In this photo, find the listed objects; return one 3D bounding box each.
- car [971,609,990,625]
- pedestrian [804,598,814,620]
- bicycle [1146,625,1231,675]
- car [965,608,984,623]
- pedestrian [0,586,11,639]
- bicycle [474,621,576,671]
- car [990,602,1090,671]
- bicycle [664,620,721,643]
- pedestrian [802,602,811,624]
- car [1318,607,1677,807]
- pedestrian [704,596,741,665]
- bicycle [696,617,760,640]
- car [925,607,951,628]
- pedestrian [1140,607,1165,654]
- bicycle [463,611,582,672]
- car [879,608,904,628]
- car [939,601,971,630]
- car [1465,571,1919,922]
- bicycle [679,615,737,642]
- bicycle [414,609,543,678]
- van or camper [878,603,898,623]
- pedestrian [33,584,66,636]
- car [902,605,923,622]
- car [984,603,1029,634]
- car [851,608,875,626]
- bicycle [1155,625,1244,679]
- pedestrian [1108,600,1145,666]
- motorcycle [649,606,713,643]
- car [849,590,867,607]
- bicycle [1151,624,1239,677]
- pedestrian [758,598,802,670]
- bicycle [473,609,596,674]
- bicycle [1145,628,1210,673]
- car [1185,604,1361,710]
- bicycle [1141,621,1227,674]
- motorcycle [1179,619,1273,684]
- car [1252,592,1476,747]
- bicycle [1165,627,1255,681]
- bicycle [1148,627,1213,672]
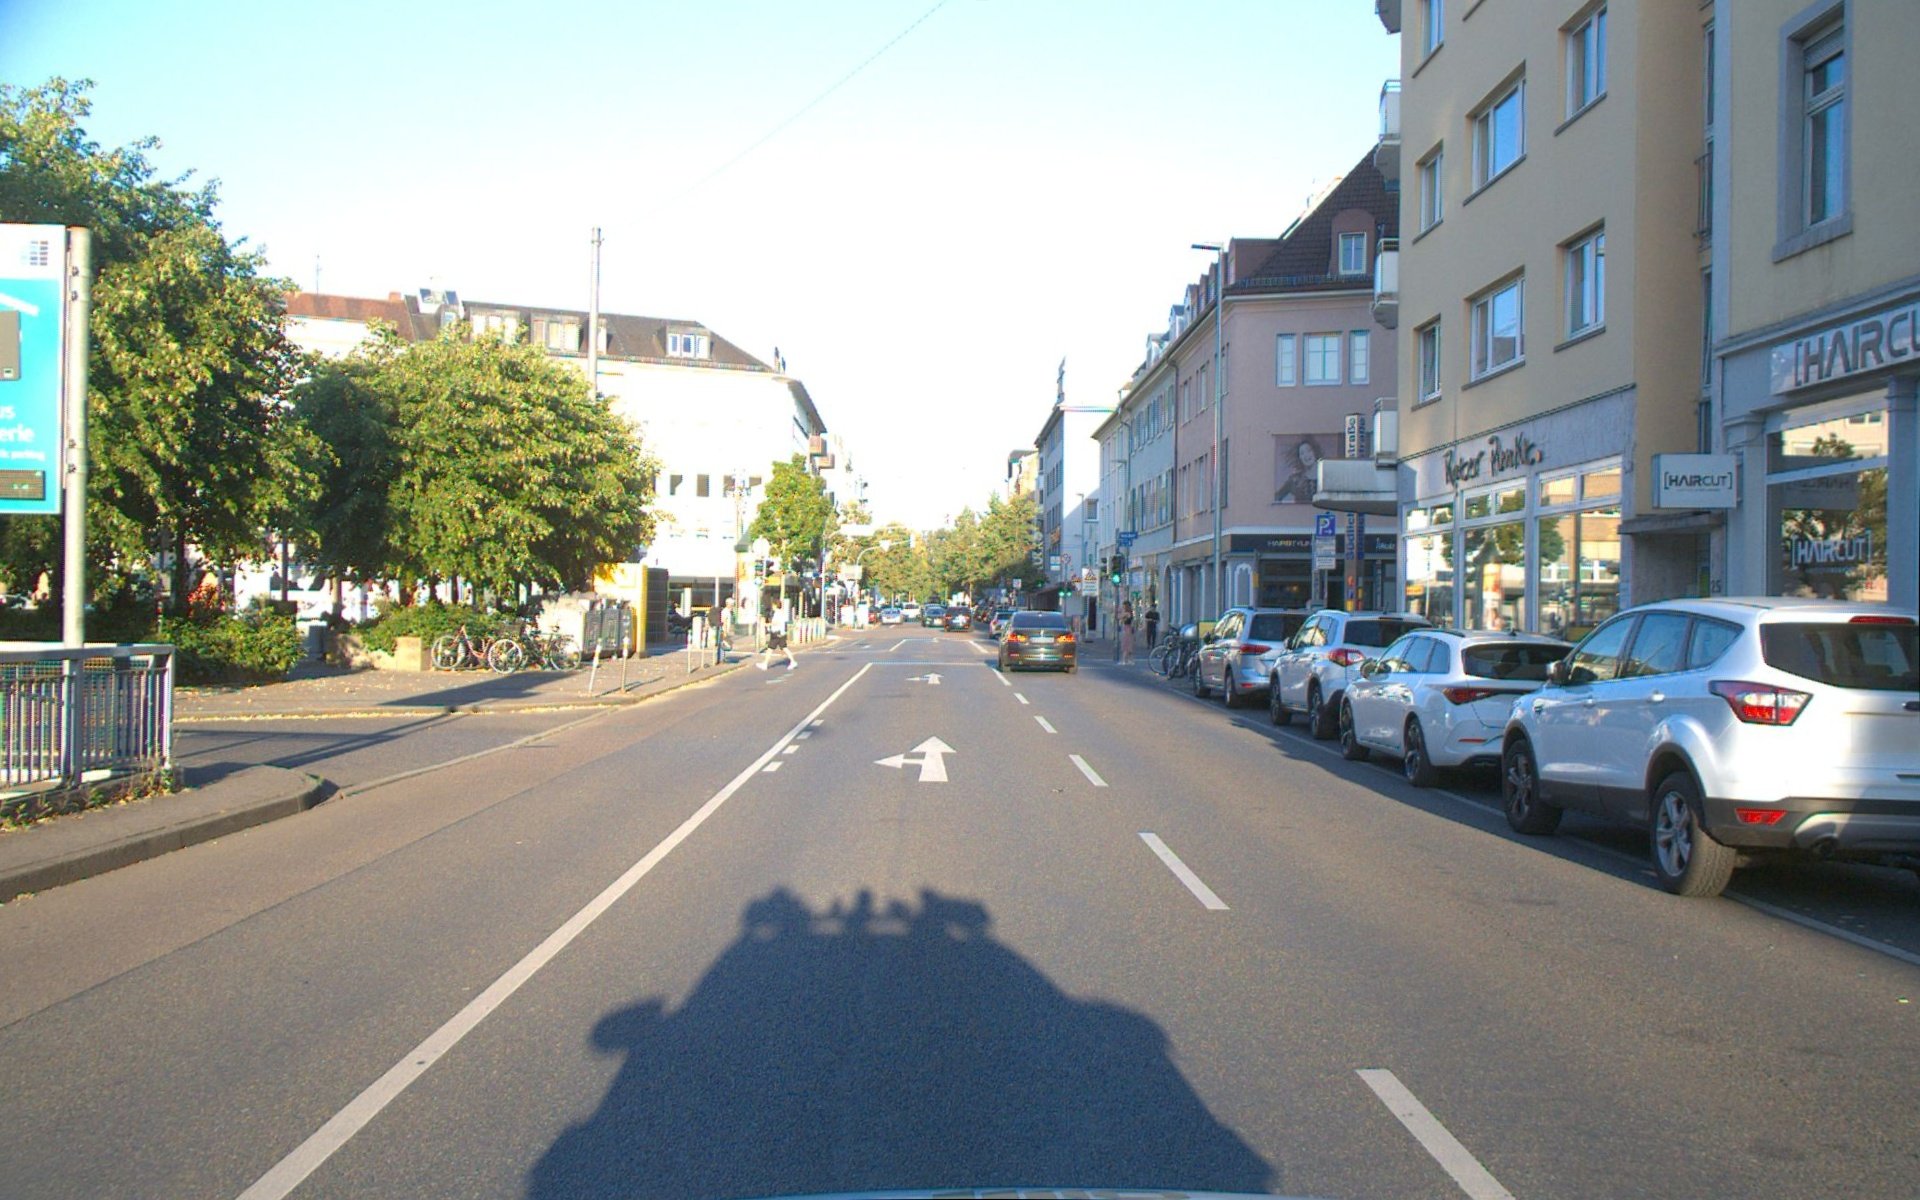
[{"bbox_3d":[2.144,1.747,172.996,1.745,1.624,3.632,1,0,-4],"label":"car"},{"bbox_3d":[-11.978,0.735,130.906,0.670,1.751,0.702,1,0,0],"label":"pedestrian"},{"bbox_3d":[5.358,1.169,38.875,1.847,1.132,0.761,1,0,-4],"label":"bicycle"},{"bbox_3d":[1.609,1.776,185.913,1.856,1.624,3.997,1,0,-4],"label":"car"},{"bbox_3d":[-32.998,0.421,56.136,0.695,1.809,1.189,0,-1,34],"label":"pedestrian"},{"bbox_3d":[-9.453,0.999,35.986,2.002,0.988,0.635,3,-1,-3],"label":"bicycle"},{"bbox_3d":[1.843,0.841,39.368,1.851,1.518,4.201,1,0,-4],"label":"car"},{"bbox_3d":[-11.235,1.328,69.529,2.281,0.935,0.700,1,-1,-3],"label":"bicycle"},{"bbox_3d":[-12.296,1.032,132.633,0.590,1.751,0.575,1,-1,-15],"label":"pedestrian"},{"bbox_3d":[5.109,0.925,16.539,1.974,1.570,4.869,1,1,0],"label":"car"},{"bbox_3d":[-6.108,0.791,42.600,0.866,1.751,0.713,1,-1,-12],"label":"pedestrian"},{"bbox_3d":[-11.036,1.360,78.732,2.881,1.040,0.843,1,-1,2],"label":"bicycle"},{"bbox_3d":[-1.643,1.344,126.799,1.846,1.512,4.000,1,0,1],"label":"car"},{"bbox_3d":[7.479,1.167,64.169,0.742,1.808,1.047,1,-1,-5],"label":"pedestrian"},{"bbox_3d":[-9.353,0.881,35.402,2.382,1.259,0.462,1,-1,-3],"label":"bicycle"},{"bbox_3d":[-5.849,1.542,141.447,1.855,1.624,4.000,1,0,1],"label":"car"},{"bbox_3d":[-0.310,0.985,104.462,1.953,1.780,3.999,1,0,-1],"label":"car"},{"bbox_3d":[4.965,0.714,10.765,1.844,1.775,4.659,1,1,-1],"label":"car"},{"bbox_3d":[-11.322,1.270,74.374,2.473,1.166,0.700,1,-1,-3],"label":"bicycle"},{"bbox_3d":[-9.660,0.854,33.204,2.451,1.306,0.816,1,0,20],"label":"bicycle"},{"bbox_3d":[-9.248,1.679,211.801,2.424,2.447,3.996,1,0,-5],"label":"van or camper"},{"bbox_3d":[-32.142,0.348,58.372,0.879,1.809,0.706,0,-1,37],"label":"pedestrian"},{"bbox_3d":[-4.934,1.398,172.302,1.952,1.780,4.000,1,0,1],"label":"car"},{"bbox_3d":[2.470,0.987,89.379,2.286,1.632,3.893,1,0,-1],"label":"car"},{"bbox_3d":[-9.006,1.564,153.915,1.855,1.624,4.000,1,0,1],"label":"car"},{"bbox_3d":[5.290,1.151,36.572,1.847,1.132,0.521,1,-1,-4],"label":"bicycle"},{"bbox_3d":[4.454,0.874,44.302,0.779,1.751,0.810,1,-1,-8],"label":"pedestrian"},{"bbox_3d":[-11.196,0.983,66.436,2.364,1.451,1.112,1,-1,-2],"label":"motorcycle"},{"bbox_3d":[-12.368,-0.195,200.963,1.790,2.049,3.676,1,0,1],"label":"car"},{"bbox_3d":[5.262,1.123,37.112,1.847,1.132,0.601,1,-1,-4],"label":"bicycle"},{"bbox_3d":[-4.475,0.847,41.173,0.858,1.751,0.753,1,-1,-26],"label":"pedestrian"},{"bbox_3d":[-8.924,0.872,34.727,2.382,1.259,0.517,2,-1,-3],"label":"bicycle"},{"bbox_3d":[5.252,1.221,39.964,1.470,1.033,0.512,1,-1,-3],"label":"bicycle"},{"bbox_3d":[5.245,0.909,28.358,1.953,1.641,4.801,1,0,-2],"label":"car"},{"bbox_3d":[5.147,1.090,38.063,1.847,1.188,0.722,0,0,-4],"label":"bicycle"},{"bbox_3d":[5.398,1.047,33.668,1.776,1.285,0.715,0,0,-4],"label":"motorcycle"},{"bbox_3d":[5.271,0.829,22.172,1.830,1.793,4.407,1,1,-1],"label":"car"},{"bbox_3d":[5.403,1.170,35.816,1.847,1.132,0.593,1,-2,-4],"label":"bicycle"},{"bbox_3d":[5.265,1.178,39.476,1.471,1.044,0.512,0,0,-5],"label":"bicycle"}]
